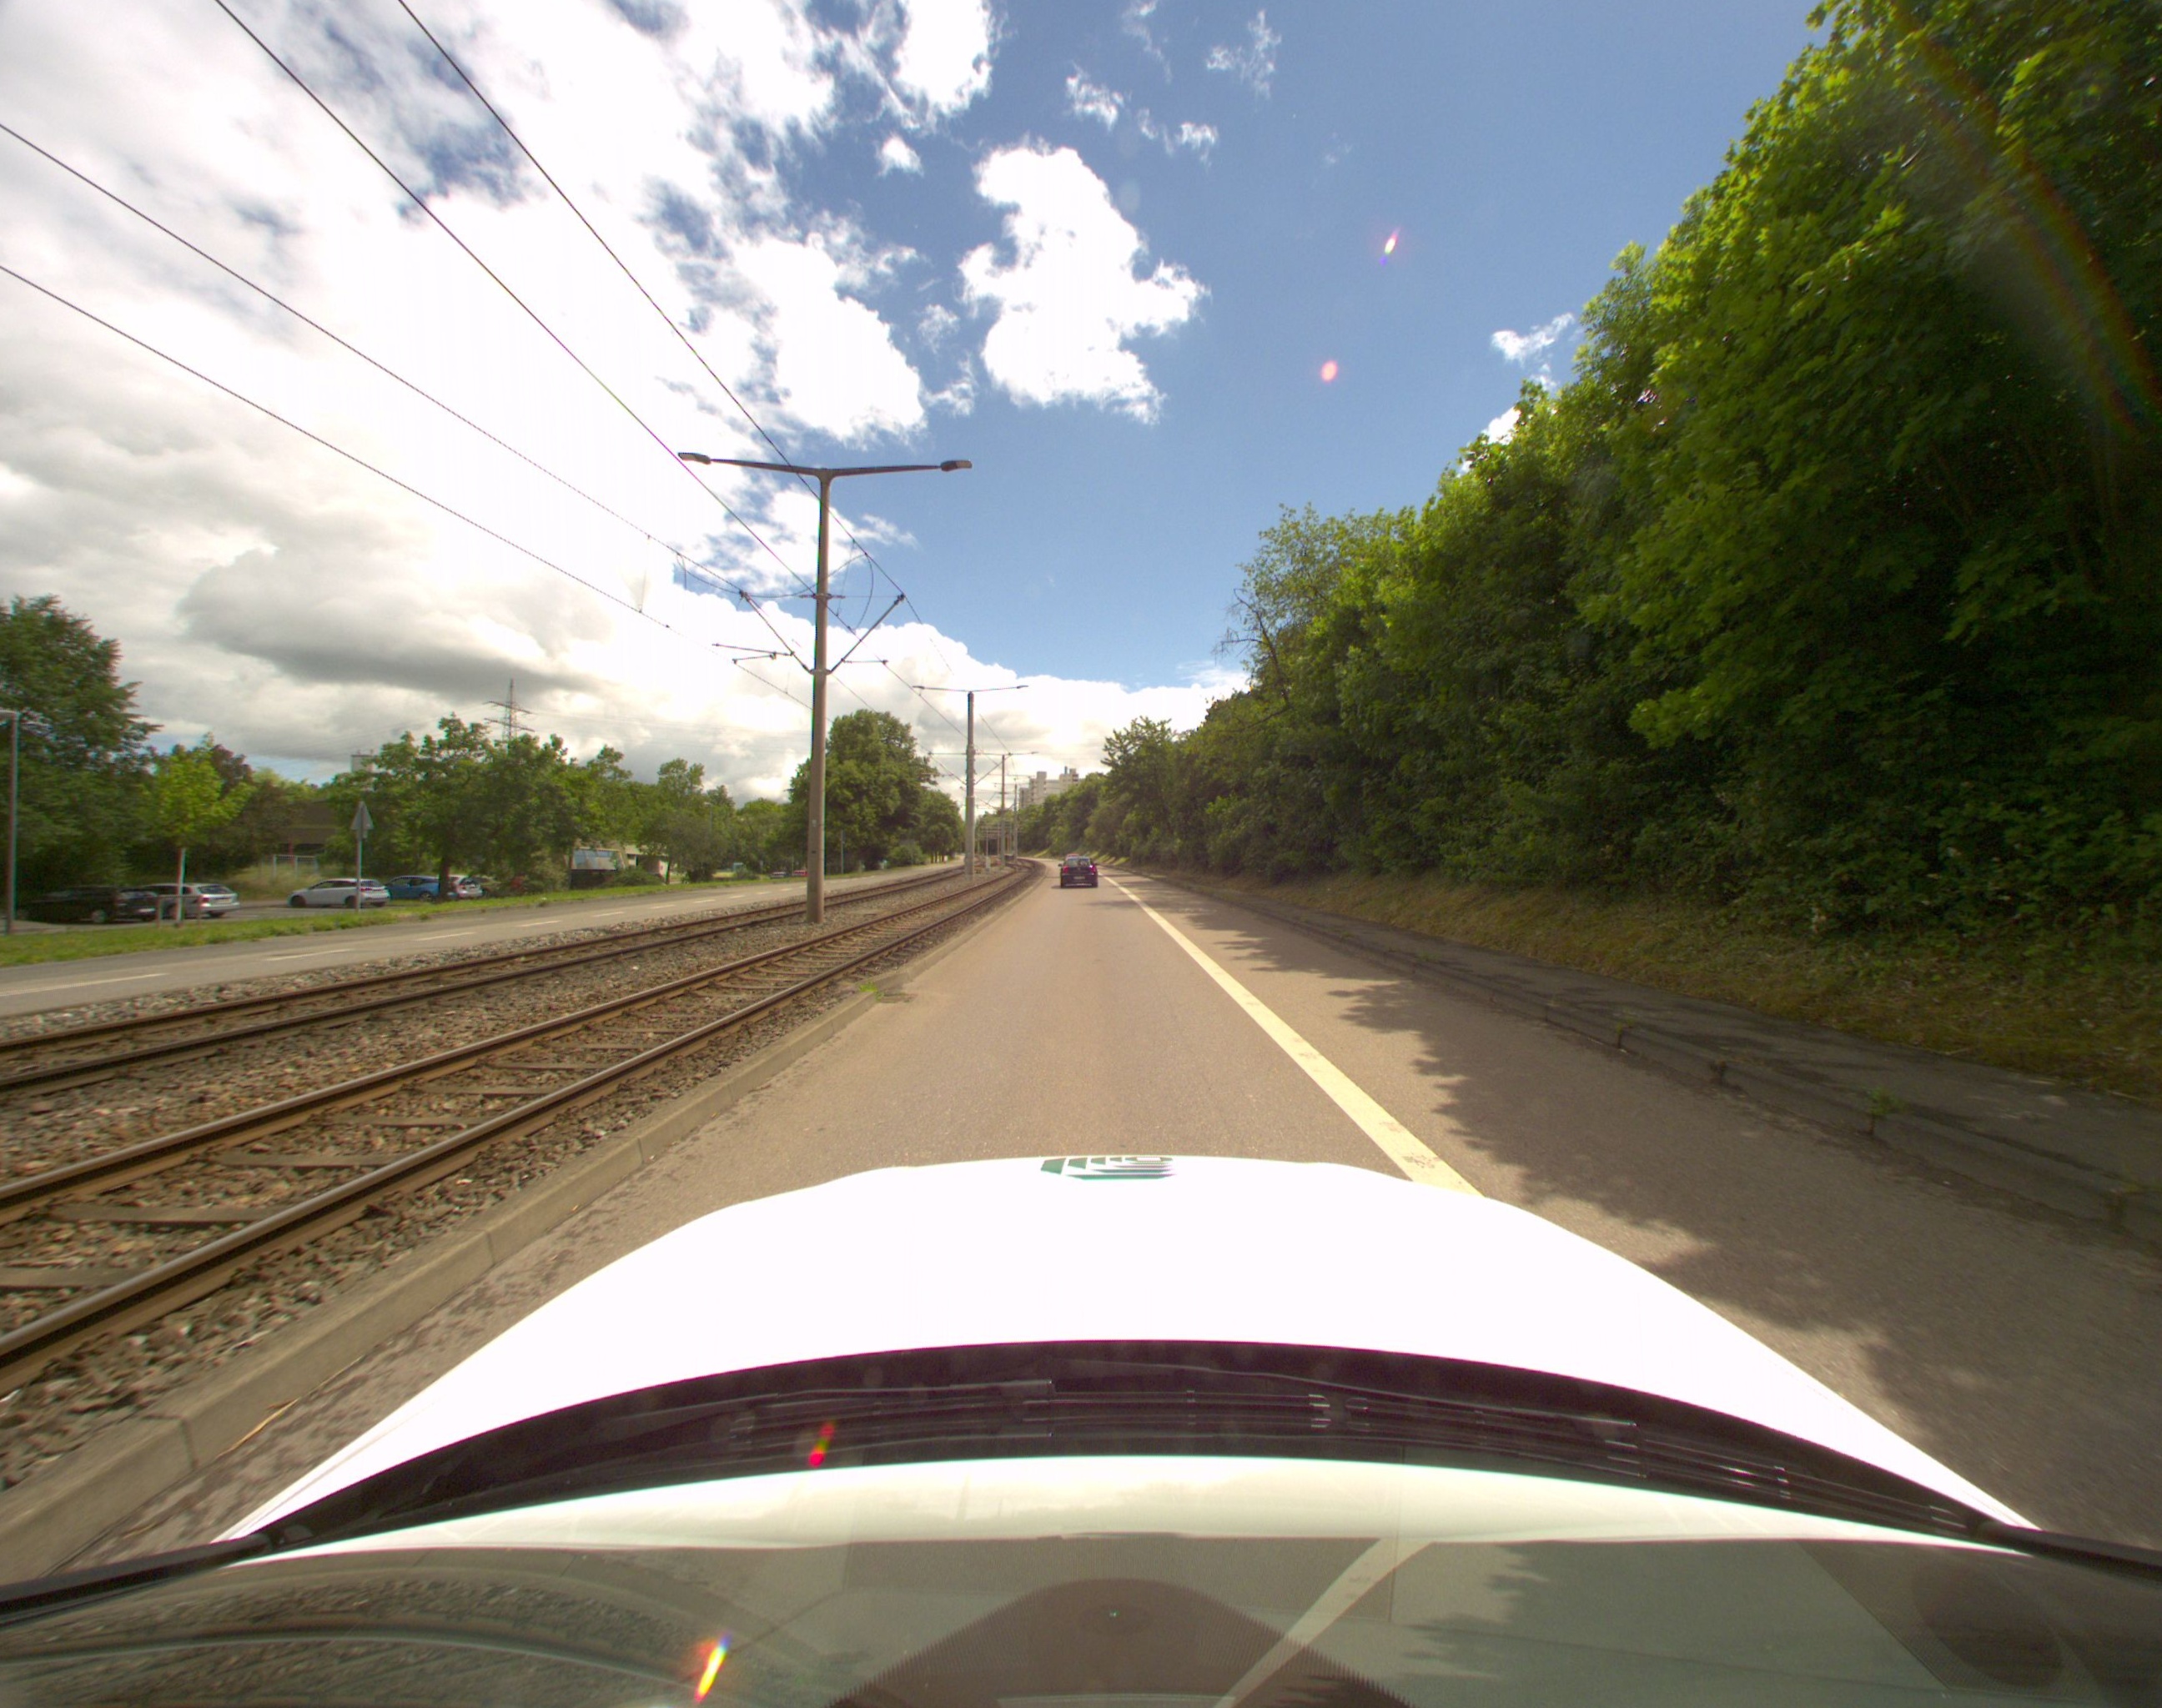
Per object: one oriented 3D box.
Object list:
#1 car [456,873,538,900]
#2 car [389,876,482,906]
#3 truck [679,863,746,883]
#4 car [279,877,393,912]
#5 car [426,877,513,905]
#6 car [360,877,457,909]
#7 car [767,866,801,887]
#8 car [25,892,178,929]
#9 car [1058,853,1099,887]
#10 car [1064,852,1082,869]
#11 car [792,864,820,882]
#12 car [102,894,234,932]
[{"bbox_3d":[-38.001,2.096,53.077,3.936,1.580,1.998,1,1,4],"label":"car"},{"bbox_3d":[-38.075,2.168,48.106,3.936,1.580,1.996,1,1,4],"label":"car"},{"bbox_3d":[-56.821,2.956,125.873,9.123,2.695,2.597,-2,0,-21],"label":"truck"},{"bbox_3d":[-37.634,2.047,41.206,3.908,1.580,1.840,1,0,-4],"label":"car"},{"bbox_3d":[-38.210,2.301,50.967,3.936,1.580,1.998,1,1,4],"label":"car"},{"bbox_3d":[-37.717,2.157,45.742,3.936,1.580,1.871,1,0,4],"label":"car"},{"bbox_3d":[-28.612,2.138,78.585,1.810,1.772,3.999,-1,0,-1],"label":"car"},{"bbox_3d":[-37.750,2.155,31.447,3.944,1.276,1.780,1,-2,5],"label":"car"},{"bbox_3d":[-0.058,0.758,37.957,1.702,1.460,3.962,1,-1,2],"label":"car"},{"bbox_3d":[-0.730,0.622,76.667,1.619,1.444,3.420,1,-2,0],"label":"car"},{"bbox_3d":[-28.964,1.952,85.903,1.812,1.772,3.995,-1,0,-4],"label":"car"},{"bbox_3d":[-37.650,2.409,33.640,3.850,1.391,1.576,1,-2,5],"label":"car"}]
